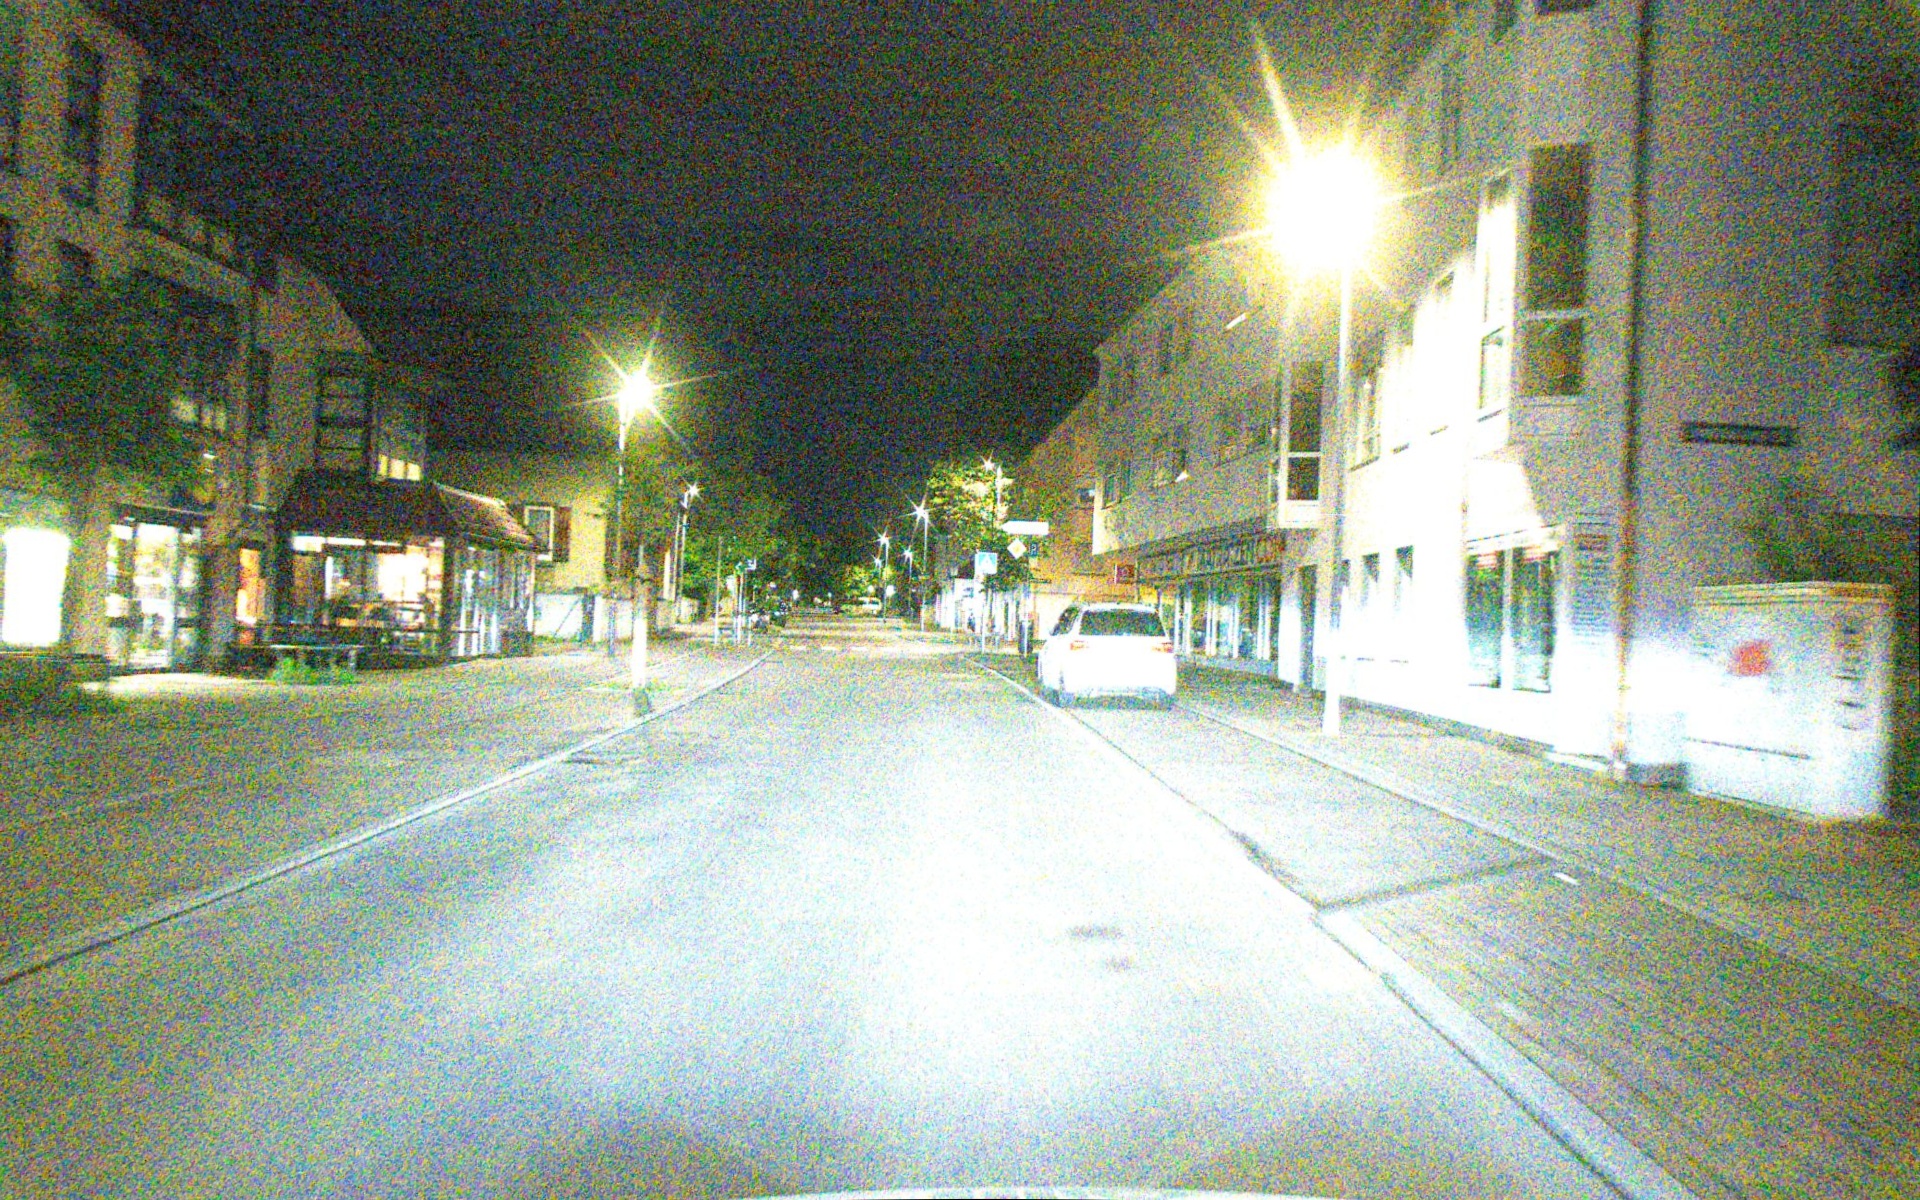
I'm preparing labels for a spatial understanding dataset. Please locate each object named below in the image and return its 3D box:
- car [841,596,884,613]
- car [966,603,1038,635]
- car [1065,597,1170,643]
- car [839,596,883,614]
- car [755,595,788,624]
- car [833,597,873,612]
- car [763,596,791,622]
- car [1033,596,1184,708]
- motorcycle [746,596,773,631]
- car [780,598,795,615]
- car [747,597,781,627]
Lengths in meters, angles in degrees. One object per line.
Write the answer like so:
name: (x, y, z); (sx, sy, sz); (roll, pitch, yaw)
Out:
car: (-11.703, 0.529, 197.916); (5.084, 2.049, 2.098); (0, 0, -7)
car: (2.197, 0.998, 86.955); (3.637, 1.499, 1.729); (2, -1, -3)
car: (5.655, 0.716, 59.741); (3.438, 1.551, 1.818); (-2, 0, -7)
car: (-11.663, 0.557, 194.842); (5.084, 2.049, 2.098); (0, 0, -7)
car: (-10.735, 0.542, 94.230); (1.732, 1.546, 4.273); (3, 0, -6)
car: (-14.228, 0.599, 219.448); (5.074, 1.920, 2.102); (0, 0, 3)
car: (-11.978, 0.575, 108.181); (1.640, 1.548, 2.974); (4, -1, -7)
car: (2.261, 0.761, 26.146); (1.708, 1.596, 4.205); (1, 0, -4)
motorcycle: (-8.470, 0.571, 70.040); (0.730, 1.477, 2.196); (1, 0, 3)
car: (-22.700, 0.868, 217.411); (1.790, 2.021, 4.457); (4, -4, -7)
car: (-10.582, 0.660, 89.531); (1.655, 1.537, 4.274); (2, 0, -5)
